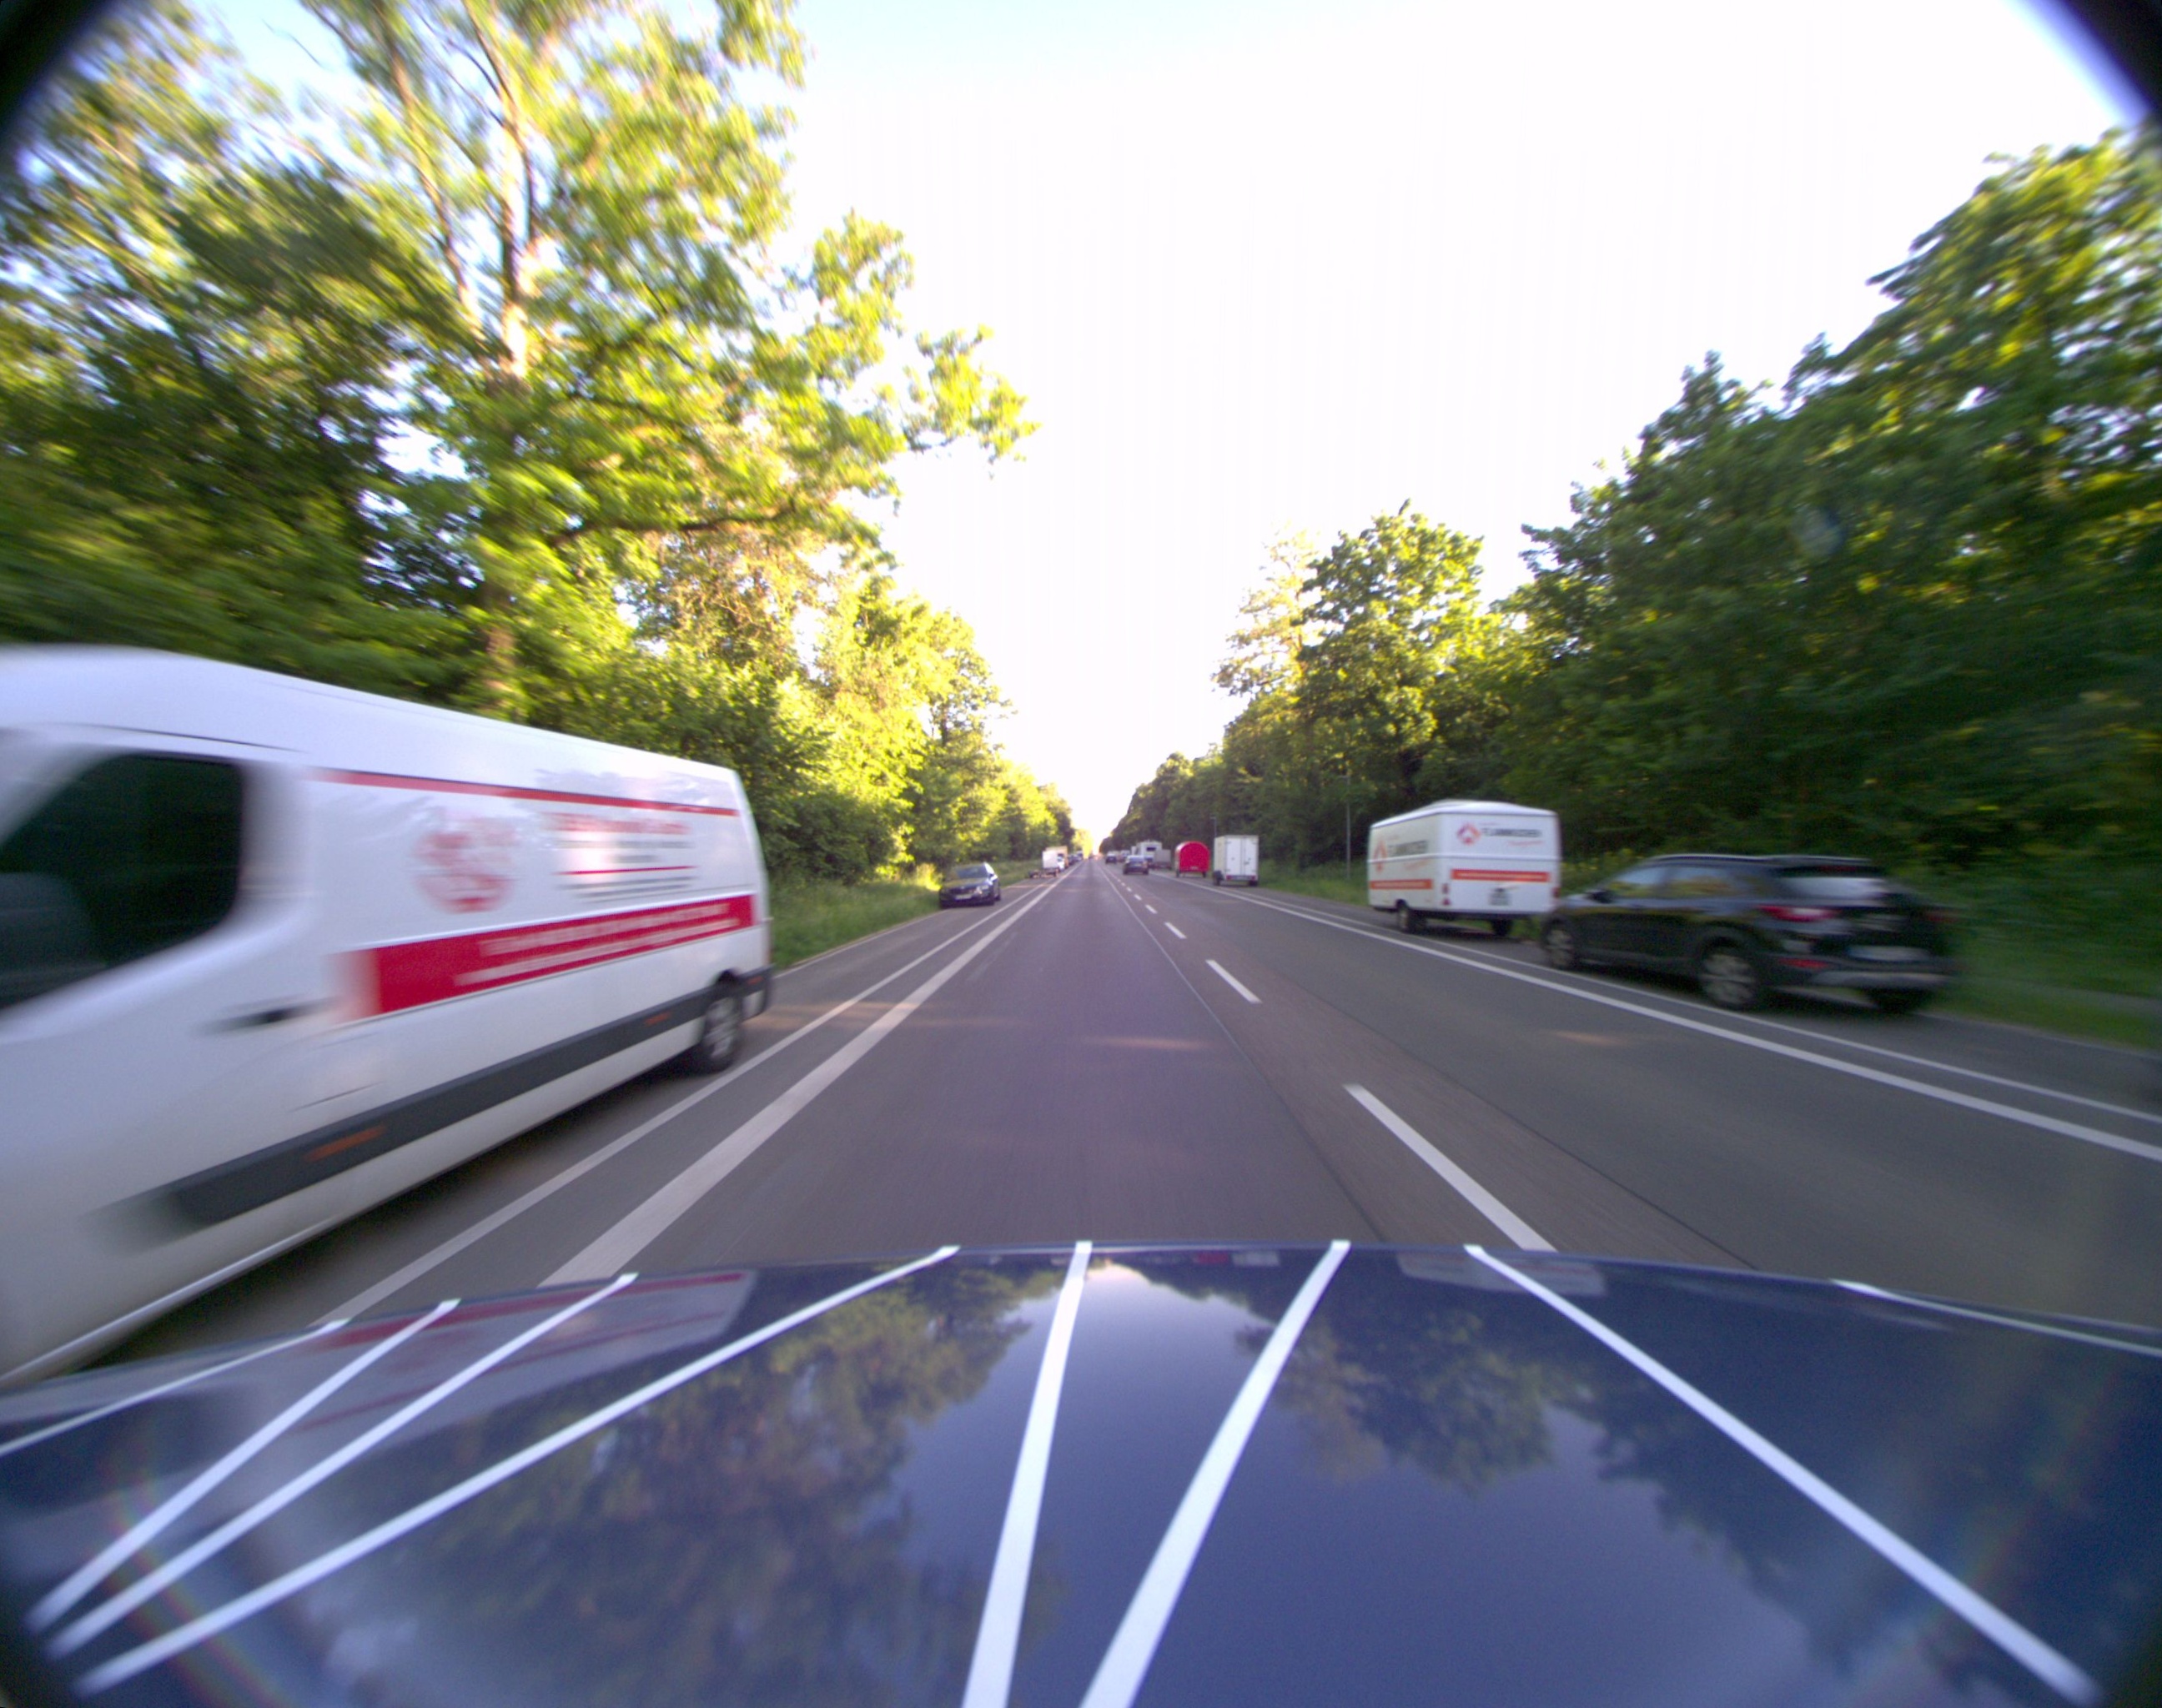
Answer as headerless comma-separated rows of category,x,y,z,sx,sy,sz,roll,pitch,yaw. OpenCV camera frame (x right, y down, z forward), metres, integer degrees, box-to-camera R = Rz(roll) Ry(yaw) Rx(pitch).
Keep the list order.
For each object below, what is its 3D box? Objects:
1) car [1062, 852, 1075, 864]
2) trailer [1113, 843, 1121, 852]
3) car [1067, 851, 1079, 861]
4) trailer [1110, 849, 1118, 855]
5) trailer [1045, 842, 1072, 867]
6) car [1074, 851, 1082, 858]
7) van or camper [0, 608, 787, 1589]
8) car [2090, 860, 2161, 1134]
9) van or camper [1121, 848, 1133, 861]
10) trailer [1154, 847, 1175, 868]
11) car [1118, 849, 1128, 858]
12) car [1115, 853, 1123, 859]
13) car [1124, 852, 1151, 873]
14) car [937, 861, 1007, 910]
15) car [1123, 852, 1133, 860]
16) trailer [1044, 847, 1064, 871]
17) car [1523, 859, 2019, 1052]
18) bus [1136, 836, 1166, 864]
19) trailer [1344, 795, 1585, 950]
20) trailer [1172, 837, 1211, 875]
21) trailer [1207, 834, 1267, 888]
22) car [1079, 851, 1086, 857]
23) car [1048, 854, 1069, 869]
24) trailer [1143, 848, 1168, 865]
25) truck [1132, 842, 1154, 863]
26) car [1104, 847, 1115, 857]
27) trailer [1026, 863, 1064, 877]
car,-1.856,0.540,113.121,1.804,1.681,4.601,-2,1,1
trailer,9.671,-1.673,203.517,1.998,2.227,3.999,-2,1,1
car,-1.466,0.367,139.350,1.998,1.888,5.473,-2,0,1
trailer,11.257,-0.807,258.814,2.306,1.972,3.999,-2,1,1
trailer,-2.718,0.025,95.023,2.928,2.825,9.881,-4,1,0
car,-0.839,0.132,186.014,1.837,1.608,4.000,-2,0,1
van or camper,-3.749,0.622,3.471,2.130,2.468,6.305,-1,0,2
car,7.006,0.875,2.071,1.675,1.565,5.126,2,1,1
van or camper,9.586,0.079,158.775,2.253,2.599,5.984,-1,0,1
trailer,8.382,0.332,76.553,1.857,2.002,3.561,1,0,1
car,9.272,-0.144,169.465,1.998,1.797,4.144,-2,0,1
car,9.819,0.458,196.571,1.998,1.620,4.144,-2,0,1
car,4.404,0.613,59.389,1.824,1.524,4.530,0,1,1
car,-3.744,1.035,26.845,1.839,1.412,4.596,-4,0,-2
car,9.050,0.335,146.564,1.787,1.485,4.001,0,0,5
trailer,-2.569,0.441,72.574,1.758,2.149,3.539,-1,0,0
car,6.966,0.861,8.437,1.675,1.486,4.194,2,1,1
bus,8.994,-0.559,99.040,2.835,3.411,11.199,-2,1,1
trailer,7.093,0.295,14.715,2.352,2.514,4.343,-1,0,-2
trailer,7.586,0.137,52.434,2.072,2.466,3.560,-1,0,-2
trailer,7.554,0.310,37.109,2.072,2.466,3.560,-1,0,-2
car,0.430,-0.060,229.514,1.837,1.608,4.000,-2,0,1
car,-2.328,0.749,78.513,1.892,1.459,4.569,-2,0,1
trailer,8.805,0.262,90.285,2.434,1.903,6.264,-2,0,1
truck,8.908,-0.246,110.314,2.488,2.807,8.424,-2,0,1
car,4.857,-0.367,131.277,1.823,1.577,4.459,0,1,1
trailer,-2.668,1.163,57.774,2.439,0.794,5.659,-2,1,1
